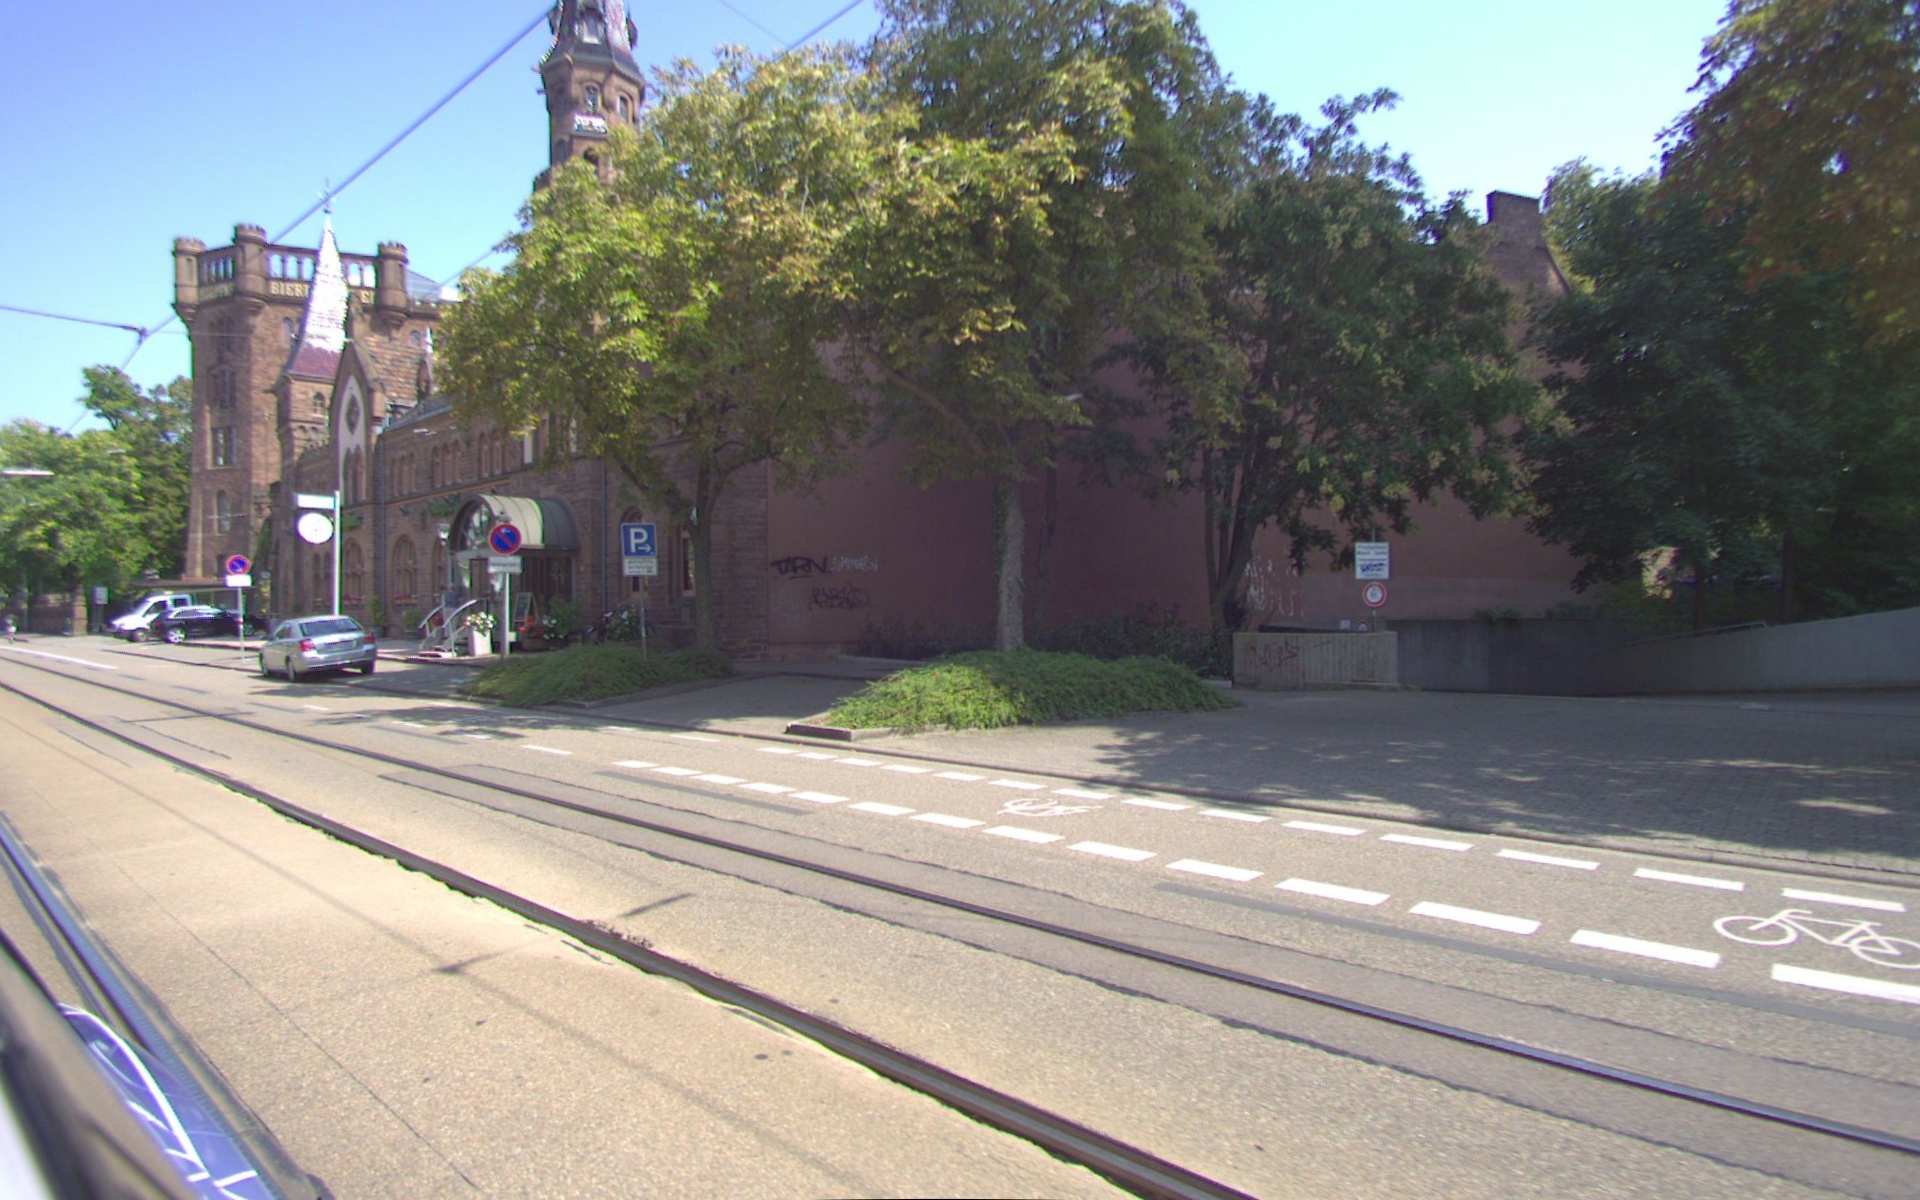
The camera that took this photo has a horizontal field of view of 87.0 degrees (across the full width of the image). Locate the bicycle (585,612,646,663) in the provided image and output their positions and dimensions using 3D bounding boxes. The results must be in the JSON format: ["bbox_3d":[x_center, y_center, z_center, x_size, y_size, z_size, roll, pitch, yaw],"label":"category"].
[{"bbox_3d":[-8.400,0.897,24.730,0.376,1.069,1.434,-1,4,32],"label":"bicycle"}]

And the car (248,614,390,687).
[{"bbox_3d":[-15.794,1.157,24.834,4.516,1.513,1.913,-1,2,45],"label":"car"}]

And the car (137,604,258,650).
[{"bbox_3d":[-36.996,1.279,49.202,2.001,1.811,4.349,-1,3,44],"label":"car"}]

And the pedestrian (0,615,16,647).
[{"bbox_3d":[-54.958,1.786,58.356,0.828,1.862,0.726,-1,-1,43],"label":"pedestrian"}]

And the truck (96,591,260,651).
[{"bbox_3d":[-41.263,1.027,53.561,2.317,2.543,6.427,-1,3,42],"label":"truck"}]

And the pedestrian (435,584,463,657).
[{"bbox_3d":[-13.989,0.558,27.711,0.498,1.995,0.519,0,0,-2],"label":"pedestrian"}]

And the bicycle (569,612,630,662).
[{"bbox_3d":[-8.922,0.904,25.076,0.376,1.069,1.434,-1,4,32],"label":"bicycle"}]

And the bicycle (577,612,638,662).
[{"bbox_3d":[-8.646,0.900,24.893,0.376,1.069,1.434,-1,4,32],"label":"bicycle"}]
